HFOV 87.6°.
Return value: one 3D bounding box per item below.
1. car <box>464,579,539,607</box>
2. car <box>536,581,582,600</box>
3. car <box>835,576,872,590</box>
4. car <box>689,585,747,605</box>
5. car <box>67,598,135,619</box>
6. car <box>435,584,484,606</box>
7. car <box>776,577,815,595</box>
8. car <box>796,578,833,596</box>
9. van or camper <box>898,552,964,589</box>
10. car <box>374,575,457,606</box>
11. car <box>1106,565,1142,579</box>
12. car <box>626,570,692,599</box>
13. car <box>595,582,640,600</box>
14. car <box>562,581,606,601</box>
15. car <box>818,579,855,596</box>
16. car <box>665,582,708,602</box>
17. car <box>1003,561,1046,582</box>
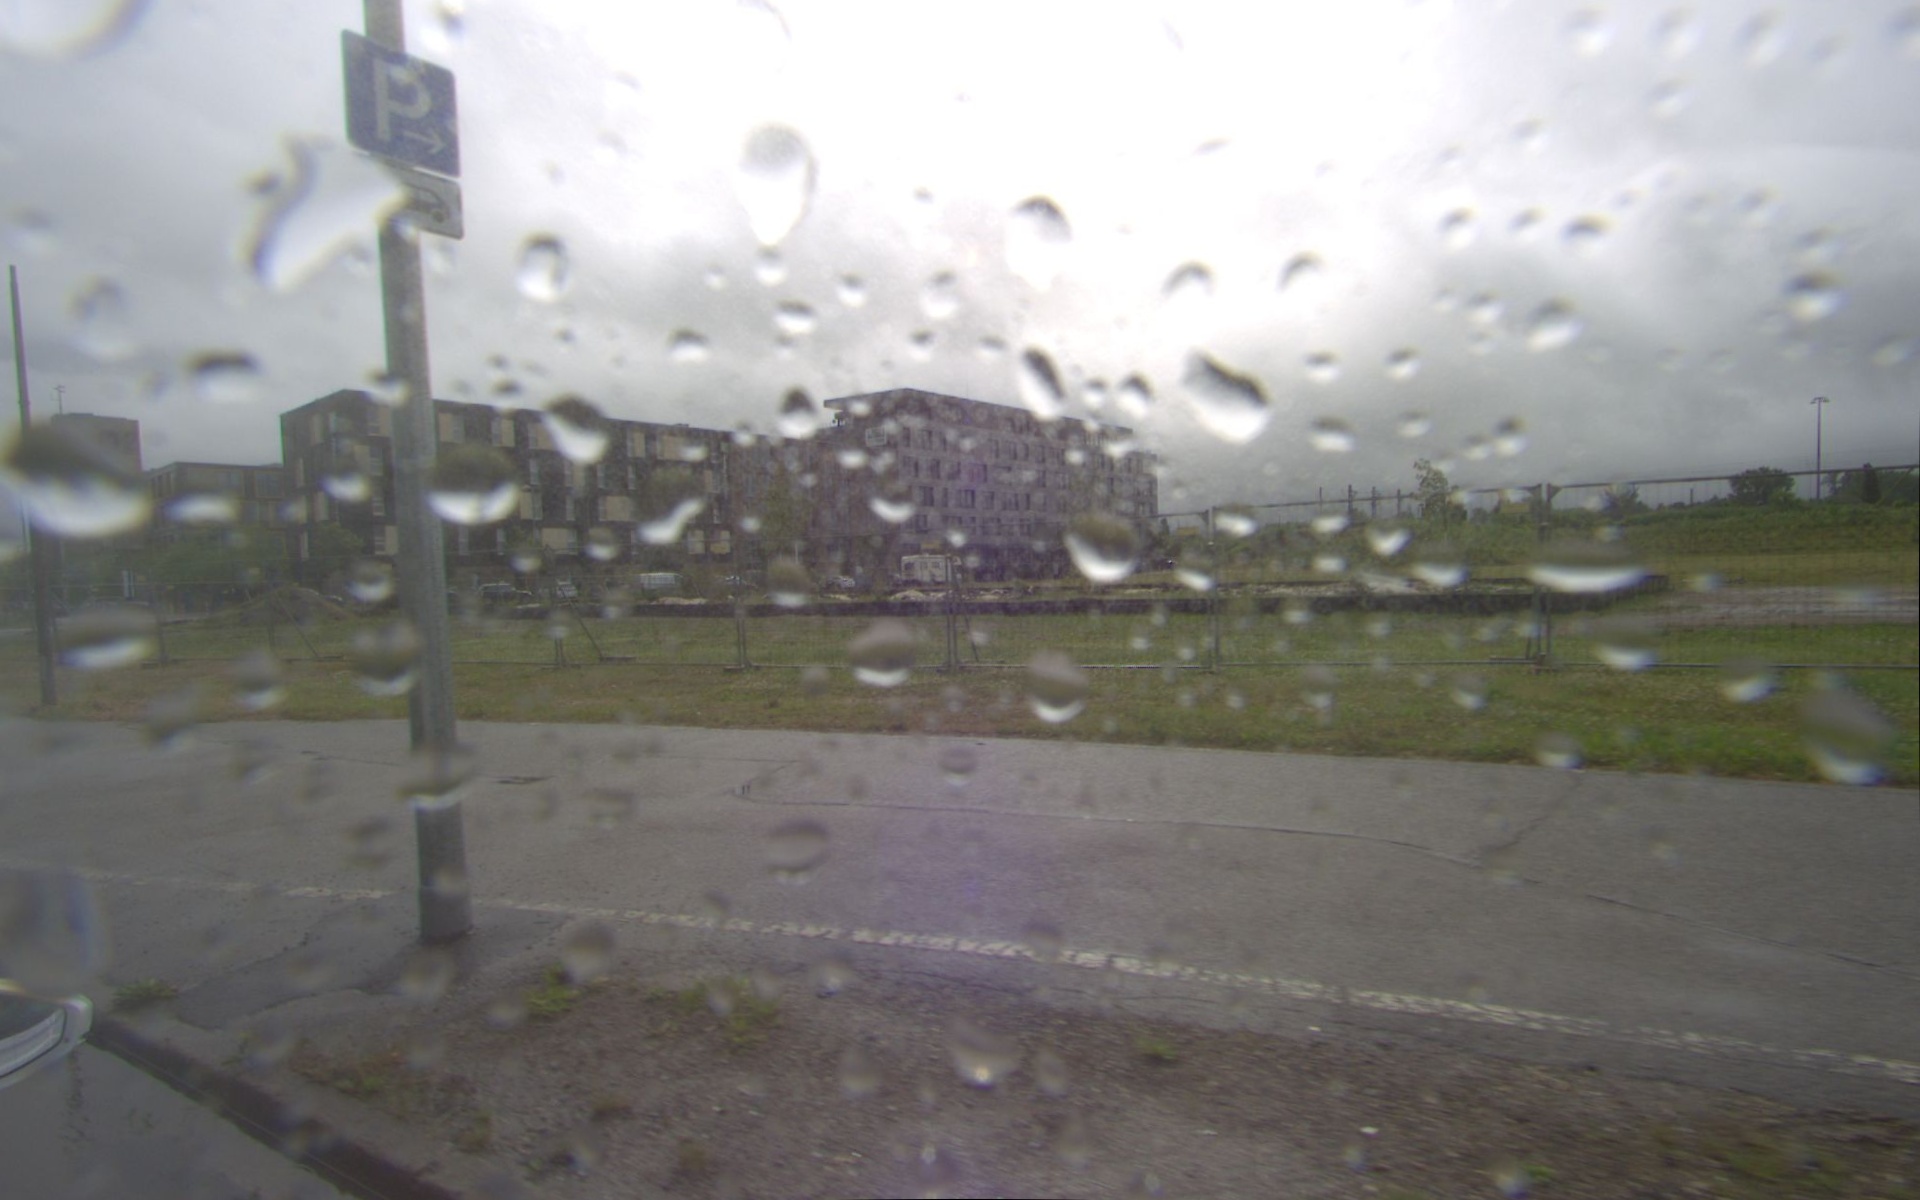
[{"bbox_3d":[-29.560,-0.428,64.651,1.974,1.662,3.975,0,-1,36],"label":"car"},{"bbox_3d":[-31.489,-0.745,78.621,3.761,1.413,1.755,0,-1,39],"label":"car"},{"bbox_3d":[-11.031,-1.705,103.318,3.856,1.313,1.541,0,-1,39],"label":"car"},{"bbox_3d":[-18.868,-0.393,78.210,1.976,1.433,3.968,0,1,39],"label":"car"},{"bbox_3d":[-73.597,0.701,85.813,1.649,1.579,4.179,0,3,43],"label":"car"},{"bbox_3d":[-36.361,-0.350,72.691,3.795,1.548,1.773,0,-1,39],"label":"car"},{"bbox_3d":[-15.911,-1.314,96.844,3.795,1.636,1.537,0,-1,39],"label":"car"},{"bbox_3d":[-14.355,-1.271,98.761,3.795,1.636,1.537,0,-1,39],"label":"car"},{"bbox_3d":[-2.747,-2.819,97.134,2.499,3.243,6.749,0,-1,40],"label":"van or camper"},{"bbox_3d":[-32.829,-0.522,60.412,1.974,1.750,3.975,0,-1,36],"label":"car"},{"bbox_3d":[21.522,-3.668,131.464,4.321,1.709,1.785,0,-1,43],"label":"car"},{"bbox_3d":[-22.192,-1.105,73.954,1.977,1.794,4.306,0,-3,40],"label":"car"},{"bbox_3d":[-28.148,-0.689,82.244,3.795,1.413,1.773,0,-1,39],"label":"car"},{"bbox_3d":[-30.155,-0.710,80.295,3.737,1.414,1.631,-2,-1,40],"label":"car"},{"bbox_3d":[-12.475,-1.216,101.266,3.795,1.636,1.537,0,-1,39],"label":"car"},{"bbox_3d":[-23.882,-0.674,87.417,3.795,1.636,1.773,0,-1,39],"label":"car"},{"bbox_3d":[6.841,-2.976,105.368,1.978,2.040,4.770,0,-1,43],"label":"car"}]
